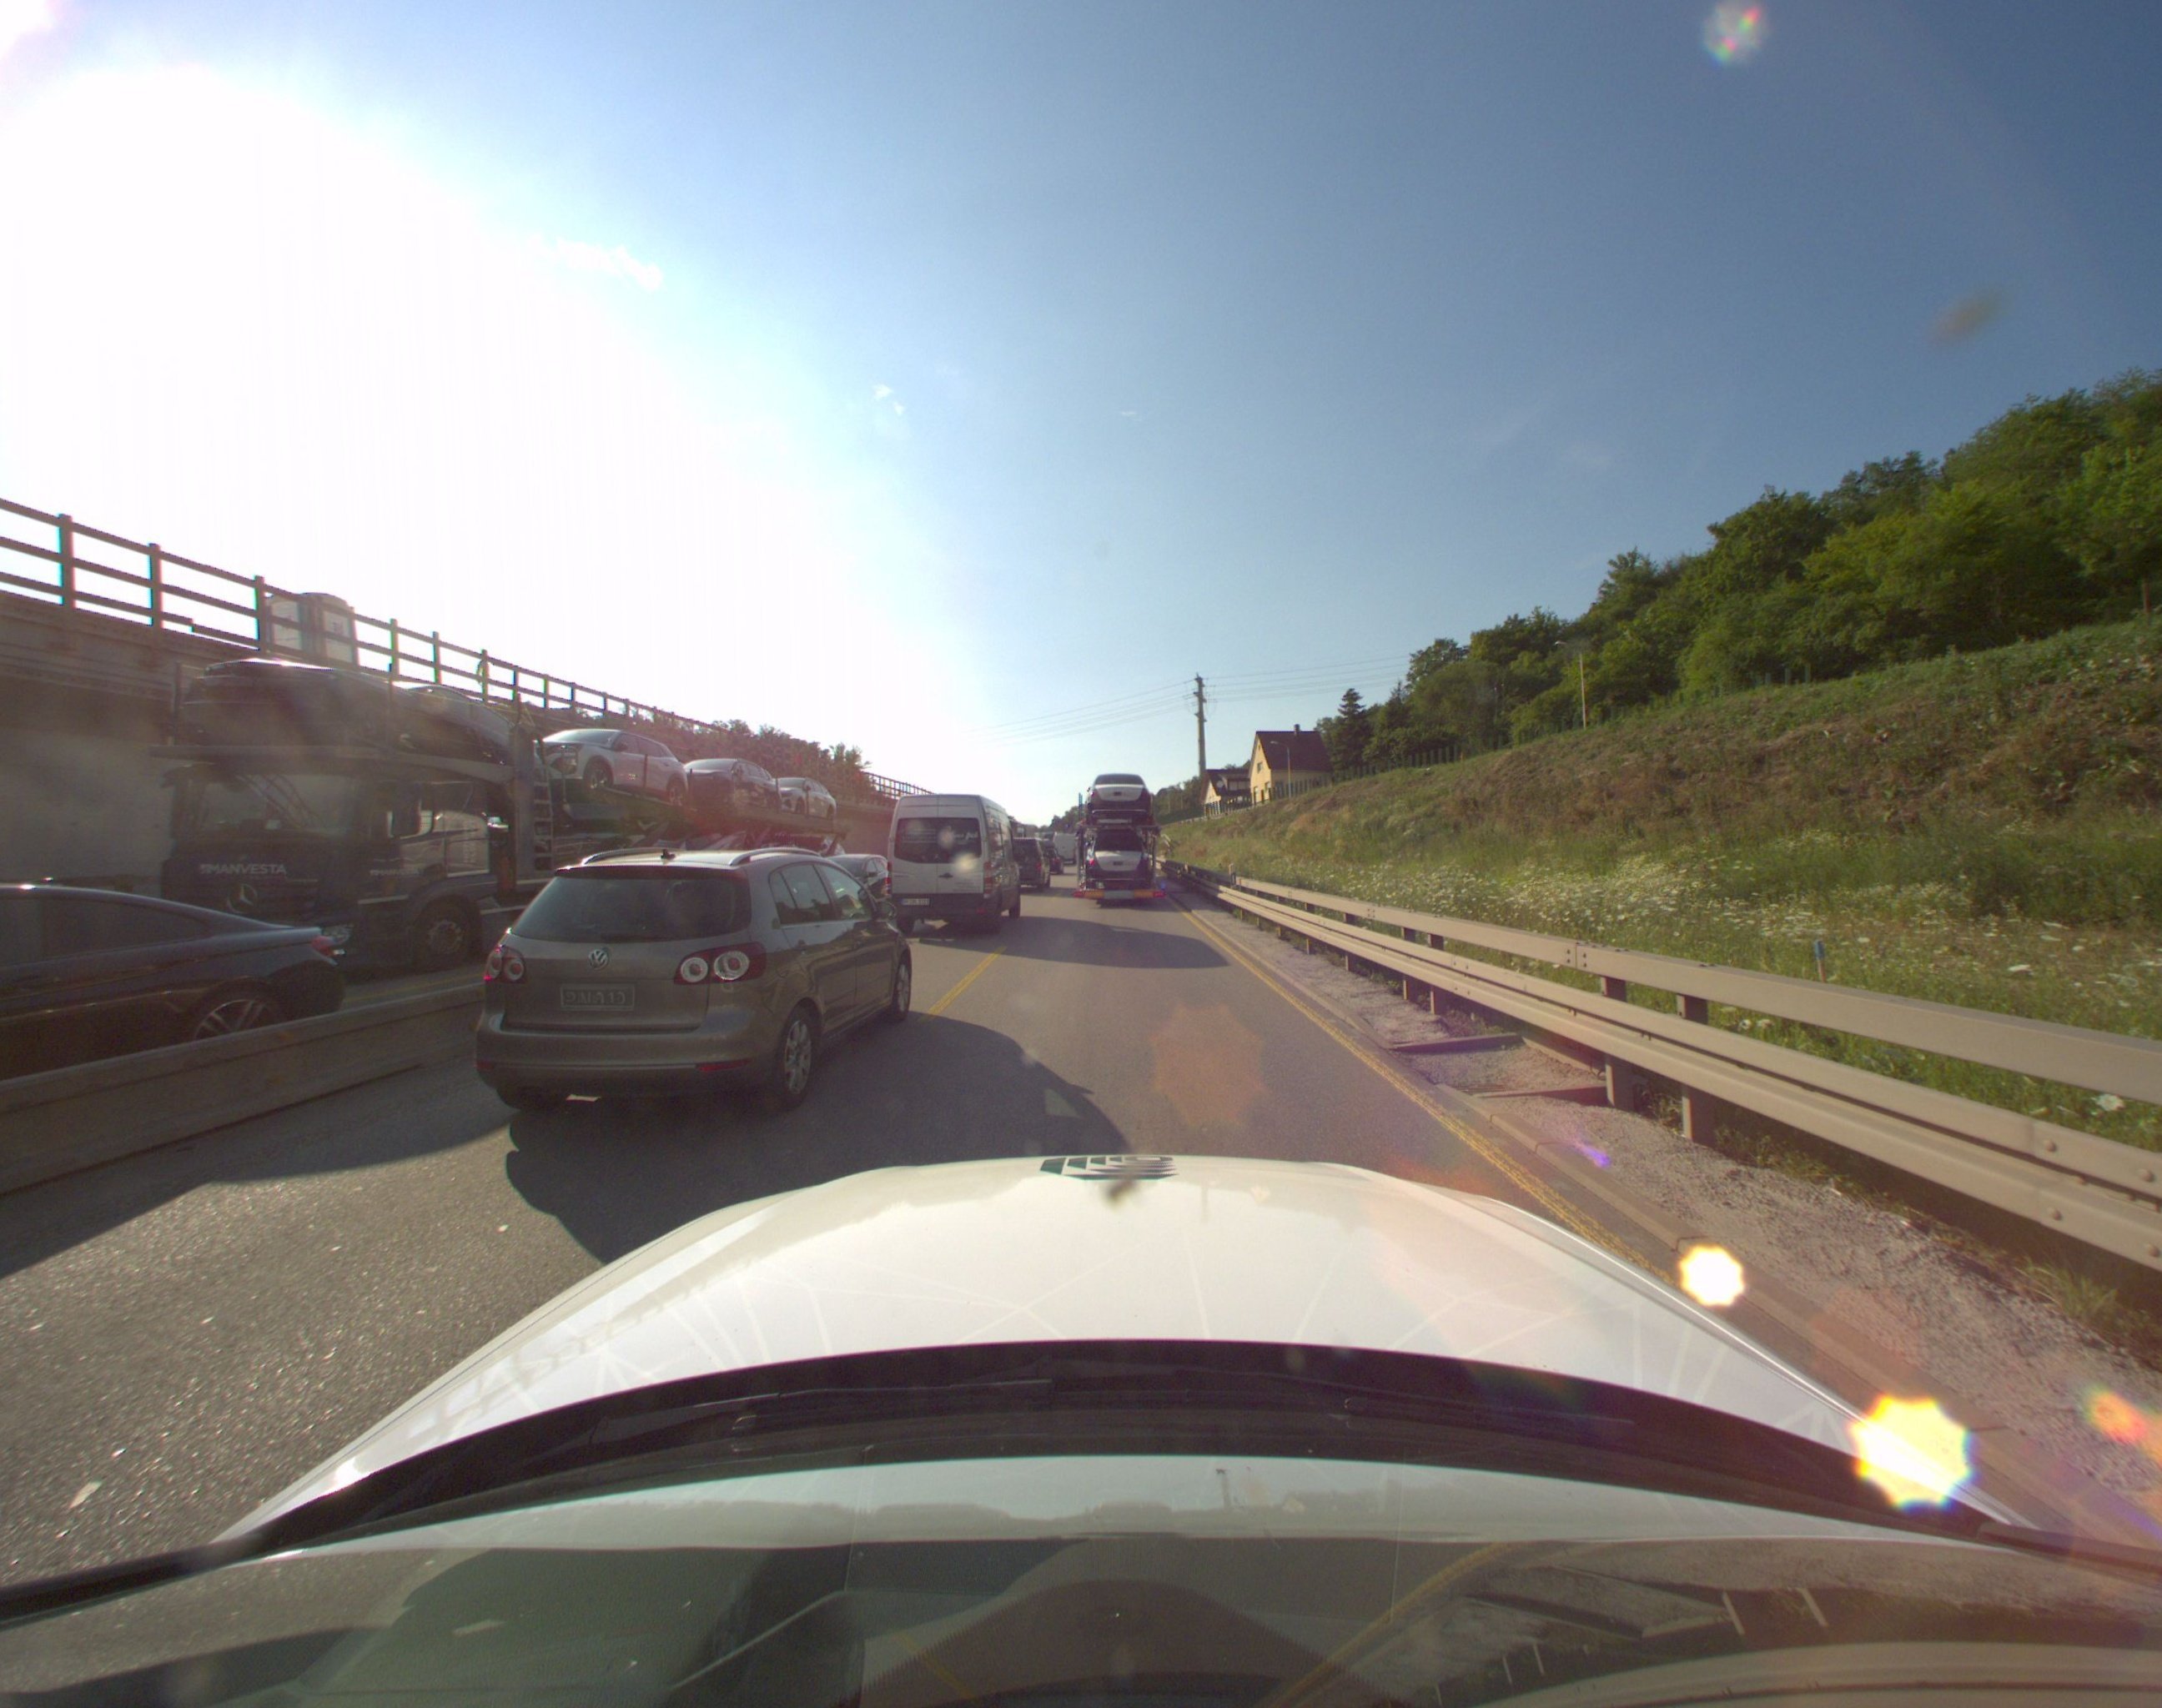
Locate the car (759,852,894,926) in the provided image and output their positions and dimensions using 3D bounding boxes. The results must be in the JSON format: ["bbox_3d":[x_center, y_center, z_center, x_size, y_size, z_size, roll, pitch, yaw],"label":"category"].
[{"bbox_3d":[-5.890,0.746,19.440,1.750,1.578,4.340,0,0,2],"label":"car"}]

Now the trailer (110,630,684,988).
[{"bbox_3d":[-9.478,-0.502,12.795,2.761,4.031,7.210,0,0,2],"label":"trailer"}]

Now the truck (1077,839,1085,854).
[{"bbox_3d":[0.059,-2.364,253.384,2.191,4.426,8.226,-1,0,-1],"label":"truck"}]

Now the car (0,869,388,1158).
[{"bbox_3d":[-6.392,0.839,4.122,1.702,1.445,4.602,0,0,2],"label":"car"}]

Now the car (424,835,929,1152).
[{"bbox_3d":[-2.470,0.733,6.303,1.674,1.588,4.273,-1,-1,1],"label":"car"}]

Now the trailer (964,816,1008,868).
[{"bbox_3d":[-7.770,-1.028,67.451,2.755,4.141,5.978,0,1,1],"label":"trailer"}]

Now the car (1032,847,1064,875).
[{"bbox_3d":[-1.906,0.373,48.043,1.720,1.522,3.973,0,1,0],"label":"car"}]

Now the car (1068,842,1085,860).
[{"bbox_3d":[-0.530,-0.371,98.130,1.879,2.100,3.766,-1,0,1],"label":"car"}]

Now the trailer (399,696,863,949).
[{"bbox_3d":[-9.300,-0.487,20.900,2.761,4.031,15.769,0,0,2],"label":"trailer"}]

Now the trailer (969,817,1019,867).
[{"bbox_3d":[-7.680,-1.123,74.114,2.755,4.141,14.029,0,1,1],"label":"trailer"}]

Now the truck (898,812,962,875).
[{"bbox_3d":[-8.601,-0.576,46.922,2.539,3.409,5.532,0,0,1],"label":"truck"}]

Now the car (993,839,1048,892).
[{"bbox_3d":[-2.220,0.420,30.931,1.802,1.904,3.999,0,0,0],"label":"car"}]

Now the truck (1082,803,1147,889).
[{"bbox_3d":[1.496,-0.318,37.285,2.673,3.534,7.196,0,0,2],"label":"truck"}]

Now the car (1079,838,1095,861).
[{"bbox_3d":[1.326,-1.034,188.110,3.435,5.035,9.647,0,1,-1],"label":"car"}]

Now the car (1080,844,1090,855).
[{"bbox_3d":[1.062,-1.356,229.774,2.761,2.992,5.596,0,0,0],"label":"car"}]

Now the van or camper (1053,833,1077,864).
[{"bbox_3d":[-1.339,-0.420,70.974,1.961,2.591,5.042,0,0,1],"label":"van or camper"}]

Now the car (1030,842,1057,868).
[{"bbox_3d":[-3.858,0.085,83.666,2.463,2.534,4.001,-1,0,1],"label":"car"}]

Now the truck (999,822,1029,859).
[{"bbox_3d":[-7.534,-1.492,91.974,2.850,4.008,5.659,0,0,1],"label":"truck"}]

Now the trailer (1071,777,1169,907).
[{"bbox_3d":[1.290,-0.332,29.874,2.672,3.534,15.294,0,0,2],"label":"trailer"}]

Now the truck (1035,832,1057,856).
[{"bbox_3d":[-5.217,-1.470,123.873,2.706,3.424,8.141,-3,0,0],"label":"truck"}]

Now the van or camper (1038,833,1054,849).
[{"bbox_3d":[-6.360,-2.337,149.297,2.304,2.662,6.456,-3,1,1],"label":"van or camper"}]

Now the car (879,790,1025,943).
[{"bbox_3d":[-2.460,0.180,17.113,1.986,2.648,5.532,-2,1,1],"label":"car"}]
